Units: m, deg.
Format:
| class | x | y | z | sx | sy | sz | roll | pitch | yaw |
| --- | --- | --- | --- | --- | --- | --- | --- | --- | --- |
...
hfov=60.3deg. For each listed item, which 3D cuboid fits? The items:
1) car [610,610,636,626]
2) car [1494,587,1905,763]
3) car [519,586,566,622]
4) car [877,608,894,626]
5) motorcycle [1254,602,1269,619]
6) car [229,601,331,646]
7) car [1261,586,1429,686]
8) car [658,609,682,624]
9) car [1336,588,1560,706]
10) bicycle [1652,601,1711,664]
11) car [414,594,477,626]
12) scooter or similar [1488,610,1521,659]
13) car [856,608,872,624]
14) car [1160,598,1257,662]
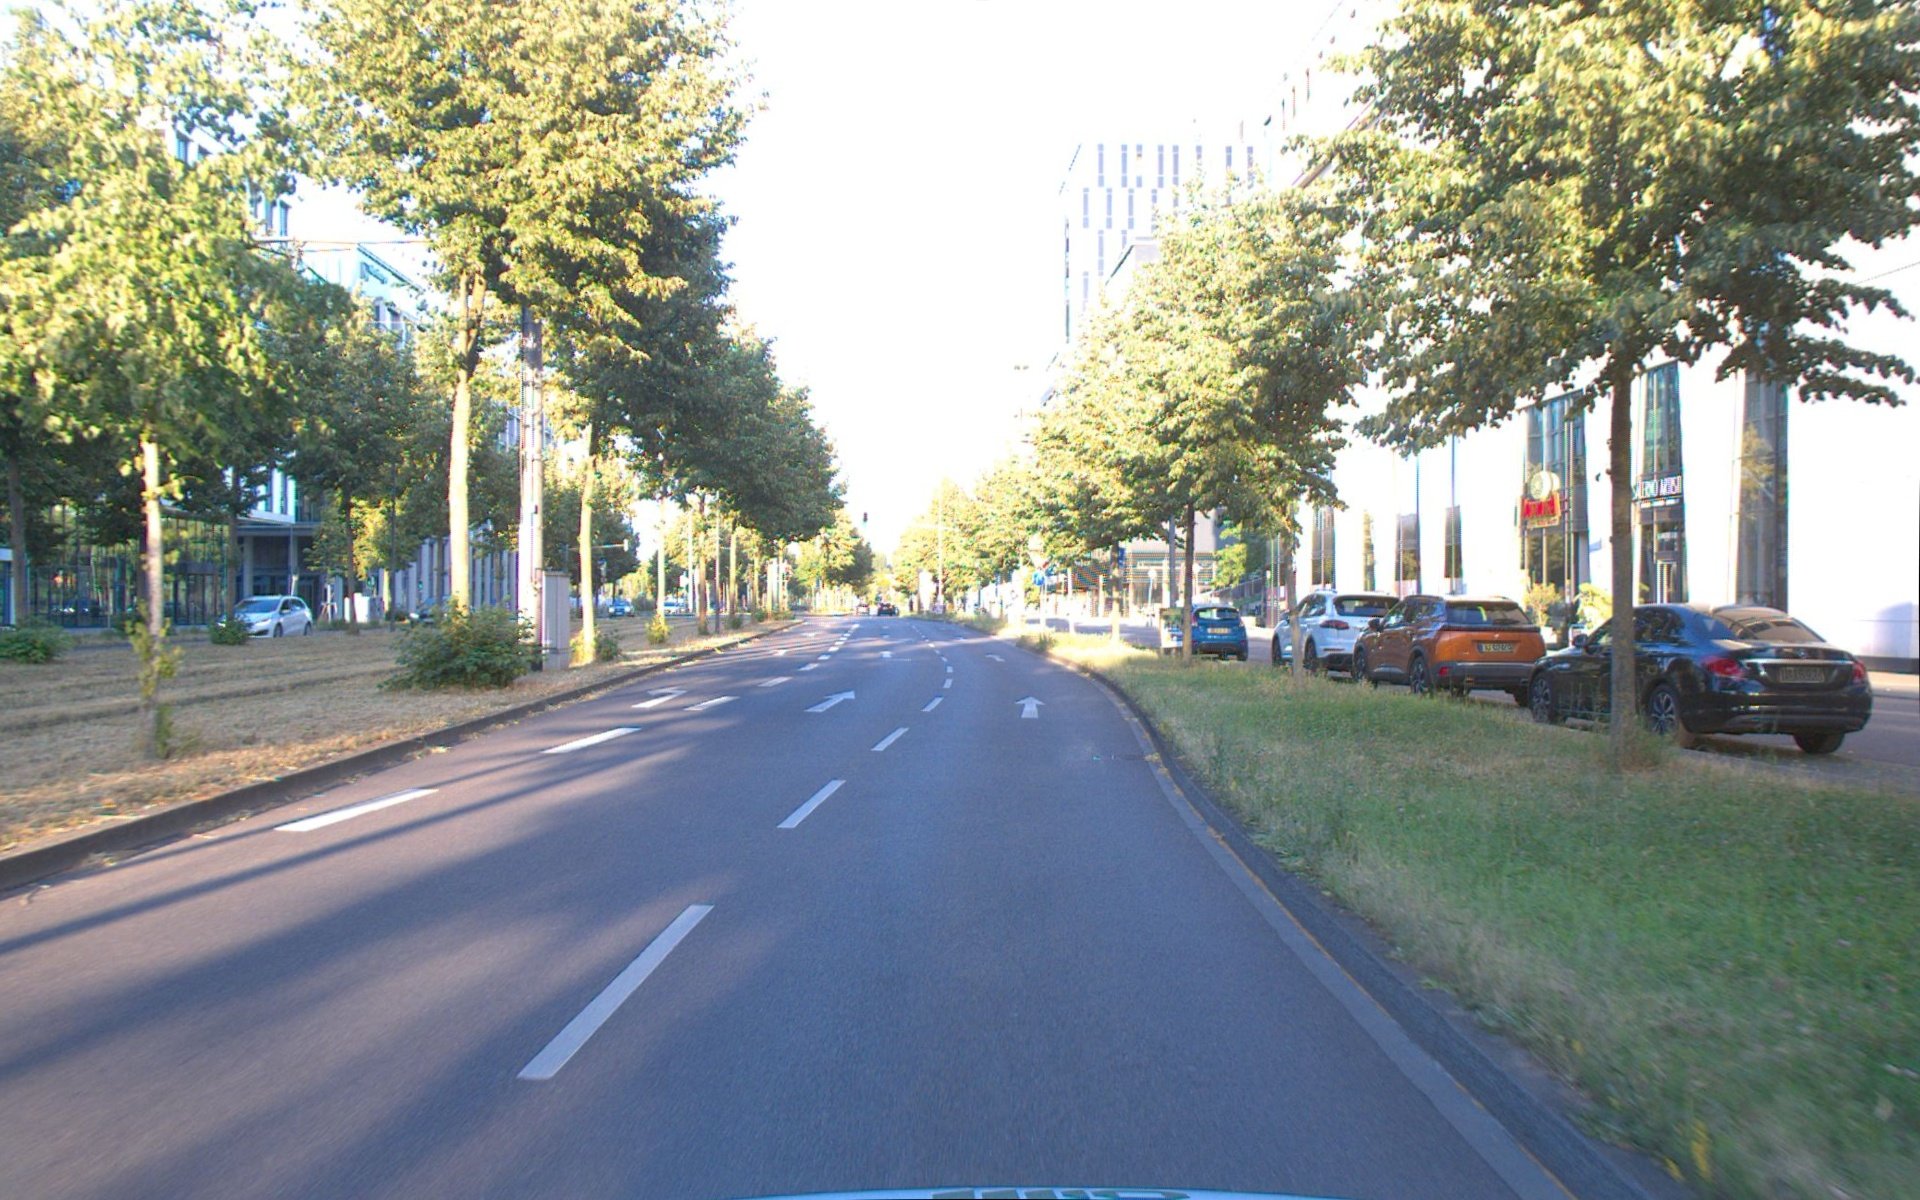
| class | x | y | z | sx | sy | sz | roll | pitch | yaw |
| --- | --- | --- | --- | --- | --- | --- | --- | --- | --- |
| car | -28.351 | 1.500 | 139.286 | 1.624 | 1.355 | 4.580 | 0 | 0 | -4 |
| car | 7.561 | 0.701 | 17.554 | 1.905 | 1.576 | 4.807 | 1 | 0 | -5 |
| car | -24.630 | 0.245 | 97.674 | 1.954 | 2.049 | 3.997 | 0 | 0 | -4 |
| car | -8.851 | 1.975 | 195.455 | 1.954 | 2.049 | 3.997 | 0 | 0 | -4 |
| motorcycle | 19.775 | 0.703 | 108.465 | 0.636 | 1.113 | 2.333 | 0 | 0 | 3 |
| car | -21.331 | 0.723 | 52.055 | 1.624 | 1.355 | 4.526 | 0 | 0 | -4 |
| car | 7.331 | 0.657 | 32.063 | 1.912 | 1.744 | 5.157 | 1 | 0 | -1 |
| car | -25.984 | 1.483 | 148.257 | 1.751 | 1.355 | 3.668 | 0 | 0 | -4 |
| car | 7.164 | 0.651 | 24.785 | 1.817 | 1.556 | 4.480 | 1 | 0 | -3 |
| bicycle | 13.988 | 0.615 | 32.101 | 0.558 | 1.144 | 1.835 | -2 | 0 | 8 |
| car | -22.826 | 0.440 | 73.567 | 1.624 | 1.355 | 4.737 | 0 | 0 | -4 |
| scooter or similar | 13.876 | 0.863 | 42.184 | 0.349 | 1.207 | 1.310 | -1 | 0 | -1 |
| car | -12.243 | 2.053 | 211.575 | 2.046 | 2.049 | 3.997 | 0 | 0 | -4 |
| car | 6.473 | 0.750 | 43.531 | 1.690 | 1.556 | 4.266 | 1 | 0 | -3 |
